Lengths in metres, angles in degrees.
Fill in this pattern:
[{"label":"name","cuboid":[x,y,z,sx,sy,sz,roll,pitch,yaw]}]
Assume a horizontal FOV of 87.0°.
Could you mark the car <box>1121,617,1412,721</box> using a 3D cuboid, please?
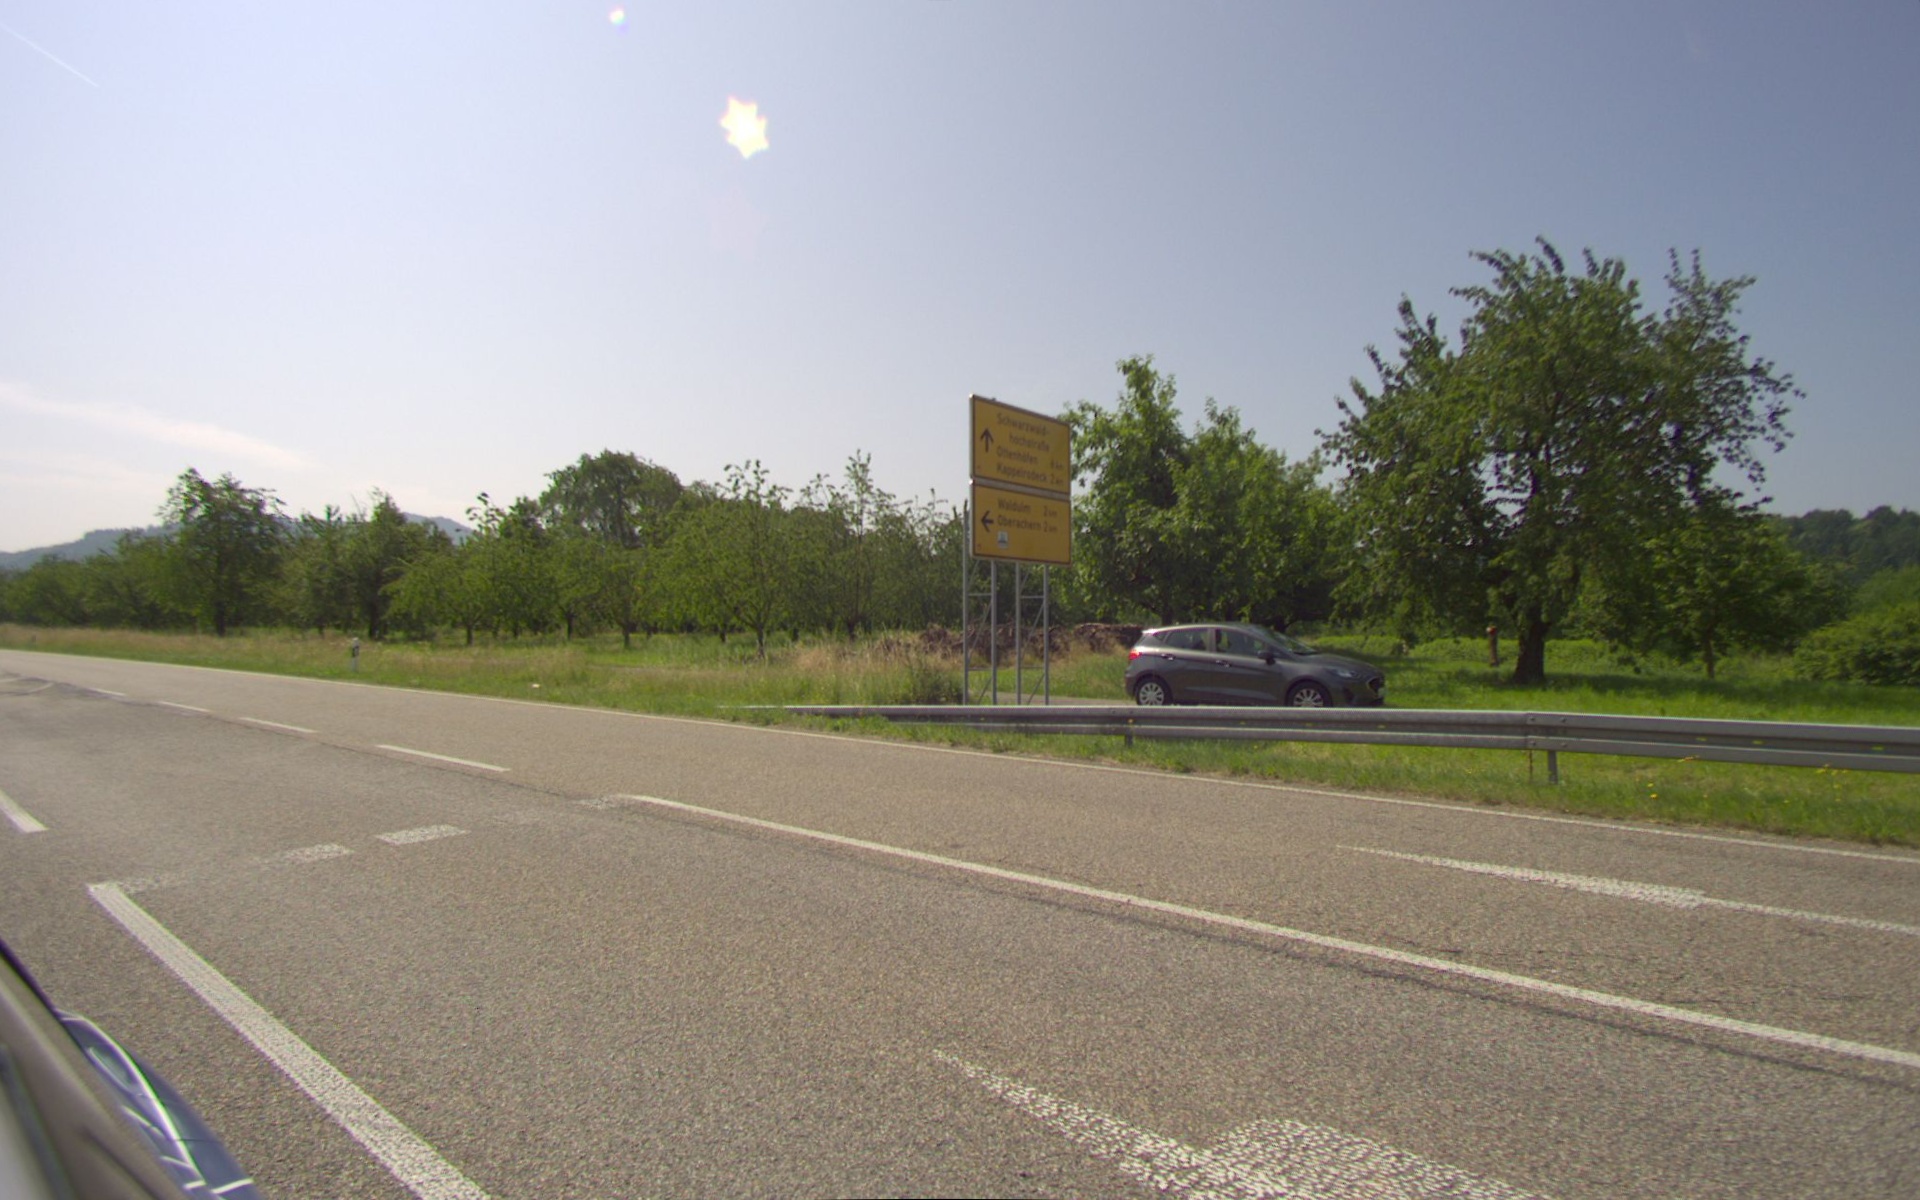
[{"label":"car","cuboid":[4.724,0.991,15.835,4.035,1.434,1.689,-1,-2,36]}]
